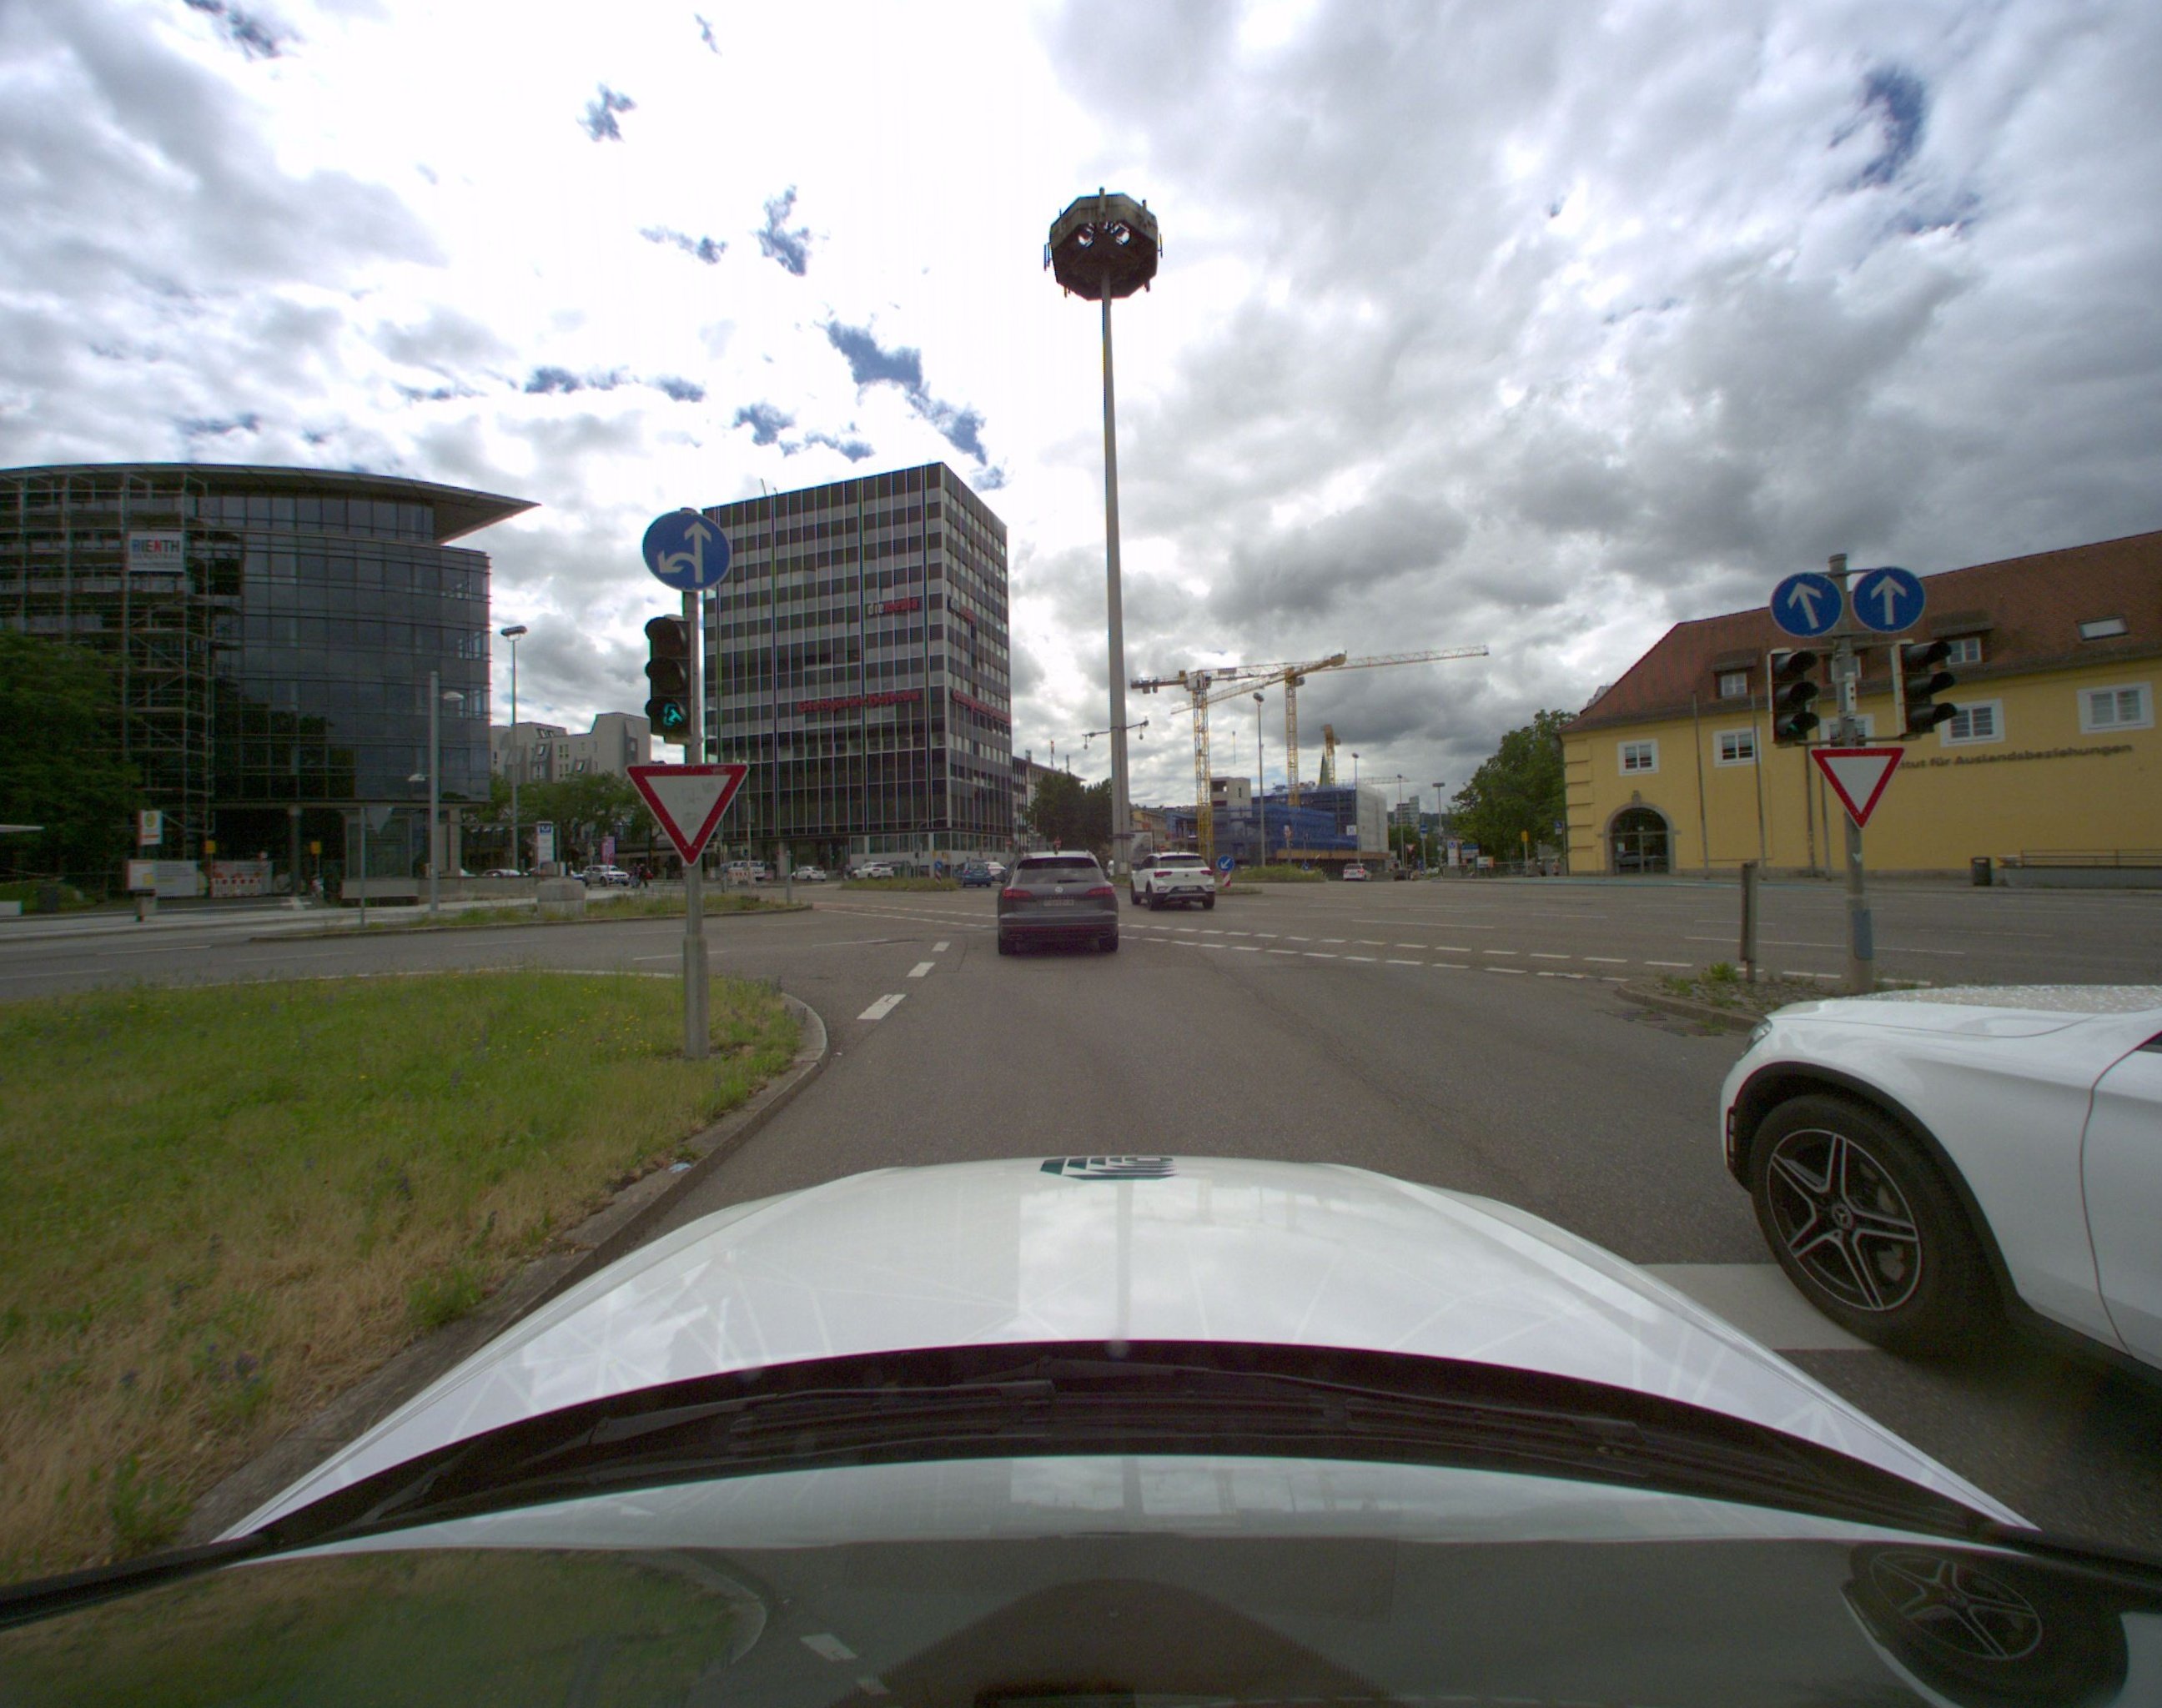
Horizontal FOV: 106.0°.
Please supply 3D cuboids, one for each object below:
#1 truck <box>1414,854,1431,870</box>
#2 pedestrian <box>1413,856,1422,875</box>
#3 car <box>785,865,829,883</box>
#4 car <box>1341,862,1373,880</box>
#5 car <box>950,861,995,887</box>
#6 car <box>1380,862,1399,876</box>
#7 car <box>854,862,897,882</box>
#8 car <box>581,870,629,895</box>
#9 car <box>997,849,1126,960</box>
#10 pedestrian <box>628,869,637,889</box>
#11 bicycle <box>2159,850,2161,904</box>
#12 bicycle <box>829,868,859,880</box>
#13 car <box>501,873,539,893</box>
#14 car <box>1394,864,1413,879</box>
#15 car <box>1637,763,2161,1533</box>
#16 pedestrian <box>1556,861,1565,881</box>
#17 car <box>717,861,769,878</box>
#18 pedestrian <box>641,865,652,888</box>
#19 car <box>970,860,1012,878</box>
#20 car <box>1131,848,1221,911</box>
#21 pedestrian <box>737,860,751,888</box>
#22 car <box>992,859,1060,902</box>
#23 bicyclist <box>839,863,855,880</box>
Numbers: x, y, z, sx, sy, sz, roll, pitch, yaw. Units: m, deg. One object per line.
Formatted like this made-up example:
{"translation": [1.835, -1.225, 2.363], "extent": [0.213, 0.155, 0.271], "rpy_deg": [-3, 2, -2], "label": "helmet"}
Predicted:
{"translation": [55.357, 1.318, 132.004], "extent": [2.108, 2.453, 4.857], "rpy_deg": [-1, 0, 28], "label": "truck"}
{"translation": [22.730, 0.774, 55.042], "extent": [0.543, 1.282, 0.465], "rpy_deg": [0, 0, 28], "label": "pedestrian"}
{"translation": [-26.022, 1.904, 77.379], "extent": [3.948, 1.611, 1.912], "rpy_deg": [1, -3, 35], "label": "car"}
{"translation": [23.785, 1.423, 70.056], "extent": [1.786, 1.502, 4.005], "rpy_deg": [-1, -1, 30], "label": "car"}
{"translation": [-6.337, 1.130, 47.280], "extent": [1.799, 1.356, 4.043], "rpy_deg": [-1, 0, -20], "label": "car"}
{"translation": [37.166, 1.784, 98.103], "extent": [1.787, 1.502, 4.004], "rpy_deg": [-1, 0, 24], "label": "car"}
{"translation": [-16.177, 1.392, 64.020], "extent": [1.829, 1.496, 3.860], "rpy_deg": [-1, 1, -40], "label": "car"}
{"translation": [-36.297, 2.182, 62.099], "extent": [3.413, 1.794, 1.813], "rpy_deg": [-1, 0, 34], "label": "car"}
{"translation": [-0.464, 0.747, 14.327], "extent": [1.930, 1.647, 3.993], "rpy_deg": [-1, 0, -5], "label": "car"}
{"translation": [-31.065, 1.718, 56.409], "extent": [0.539, 1.396, 0.649], "rpy_deg": [0, 0, -28], "label": "pedestrian"}
{"translation": [23.610, 0.494, 16.337], "extent": [0.918, 1.158, 2.470], "rpy_deg": [0, 0, 8], "label": "bicycle"}
{"translation": [-24.015, 2.028, 82.574], "extent": [3.270, 1.168, 1.259], "rpy_deg": [0, 0, 40], "label": "bicycle"}
{"translation": [-54.018, 2.770, 78.446], "extent": [3.949, 1.816, 2.013], "rpy_deg": [-1, 0, 40], "label": "car"}
{"translation": [36.346, 1.944, 91.711], "extent": [1.787, 1.502, 4.004], "rpy_deg": [-1, 0, 24], "label": "car"}
{"translation": [3.195, 0.622, 1.218], "extent": [1.812, 1.647, 4.380], "rpy_deg": [-1, 1, 1], "label": "car"}
{"translation": [37.750, 1.335, 64.144], "extent": [0.537, 1.597, 0.747], "rpy_deg": [0, 0, 28], "label": "pedestrian"}
{"translation": [-32.314, 1.495, 77.810], "extent": [4.552, 1.502, 2.266], "rpy_deg": [-1, 1, 30], "label": "car"}
{"translation": [-30.287, 1.574, 56.772], "extent": [0.625, 1.593, 0.586], "rpy_deg": [0, 0, -28], "label": "pedestrian"}
{"translation": [-6.242, 1.006, 56.309], "extent": [1.678, 1.139, 4.036], "rpy_deg": [-1, 0, -25], "label": "car"}
{"translation": [2.604, 0.651, 23.157], "extent": [1.889, 1.585, 3.796], "rpy_deg": [-1, 1, -3], "label": "car"}
{"translation": [-29.051, 1.712, 70.175], "extent": [0.963, 2.361, 1.031], "rpy_deg": [-1, 0, -27], "label": "pedestrian"}
{"translation": [-2.028, 0.881, 28.993], "extent": [1.795, 1.356, 4.052], "rpy_deg": [-1, 0, -13], "label": "car"}
{"translation": [-23.651, 1.790, 82.274], "extent": [0.904, 1.641, 1.259], "rpy_deg": [0, 0, 40], "label": "bicyclist"}
